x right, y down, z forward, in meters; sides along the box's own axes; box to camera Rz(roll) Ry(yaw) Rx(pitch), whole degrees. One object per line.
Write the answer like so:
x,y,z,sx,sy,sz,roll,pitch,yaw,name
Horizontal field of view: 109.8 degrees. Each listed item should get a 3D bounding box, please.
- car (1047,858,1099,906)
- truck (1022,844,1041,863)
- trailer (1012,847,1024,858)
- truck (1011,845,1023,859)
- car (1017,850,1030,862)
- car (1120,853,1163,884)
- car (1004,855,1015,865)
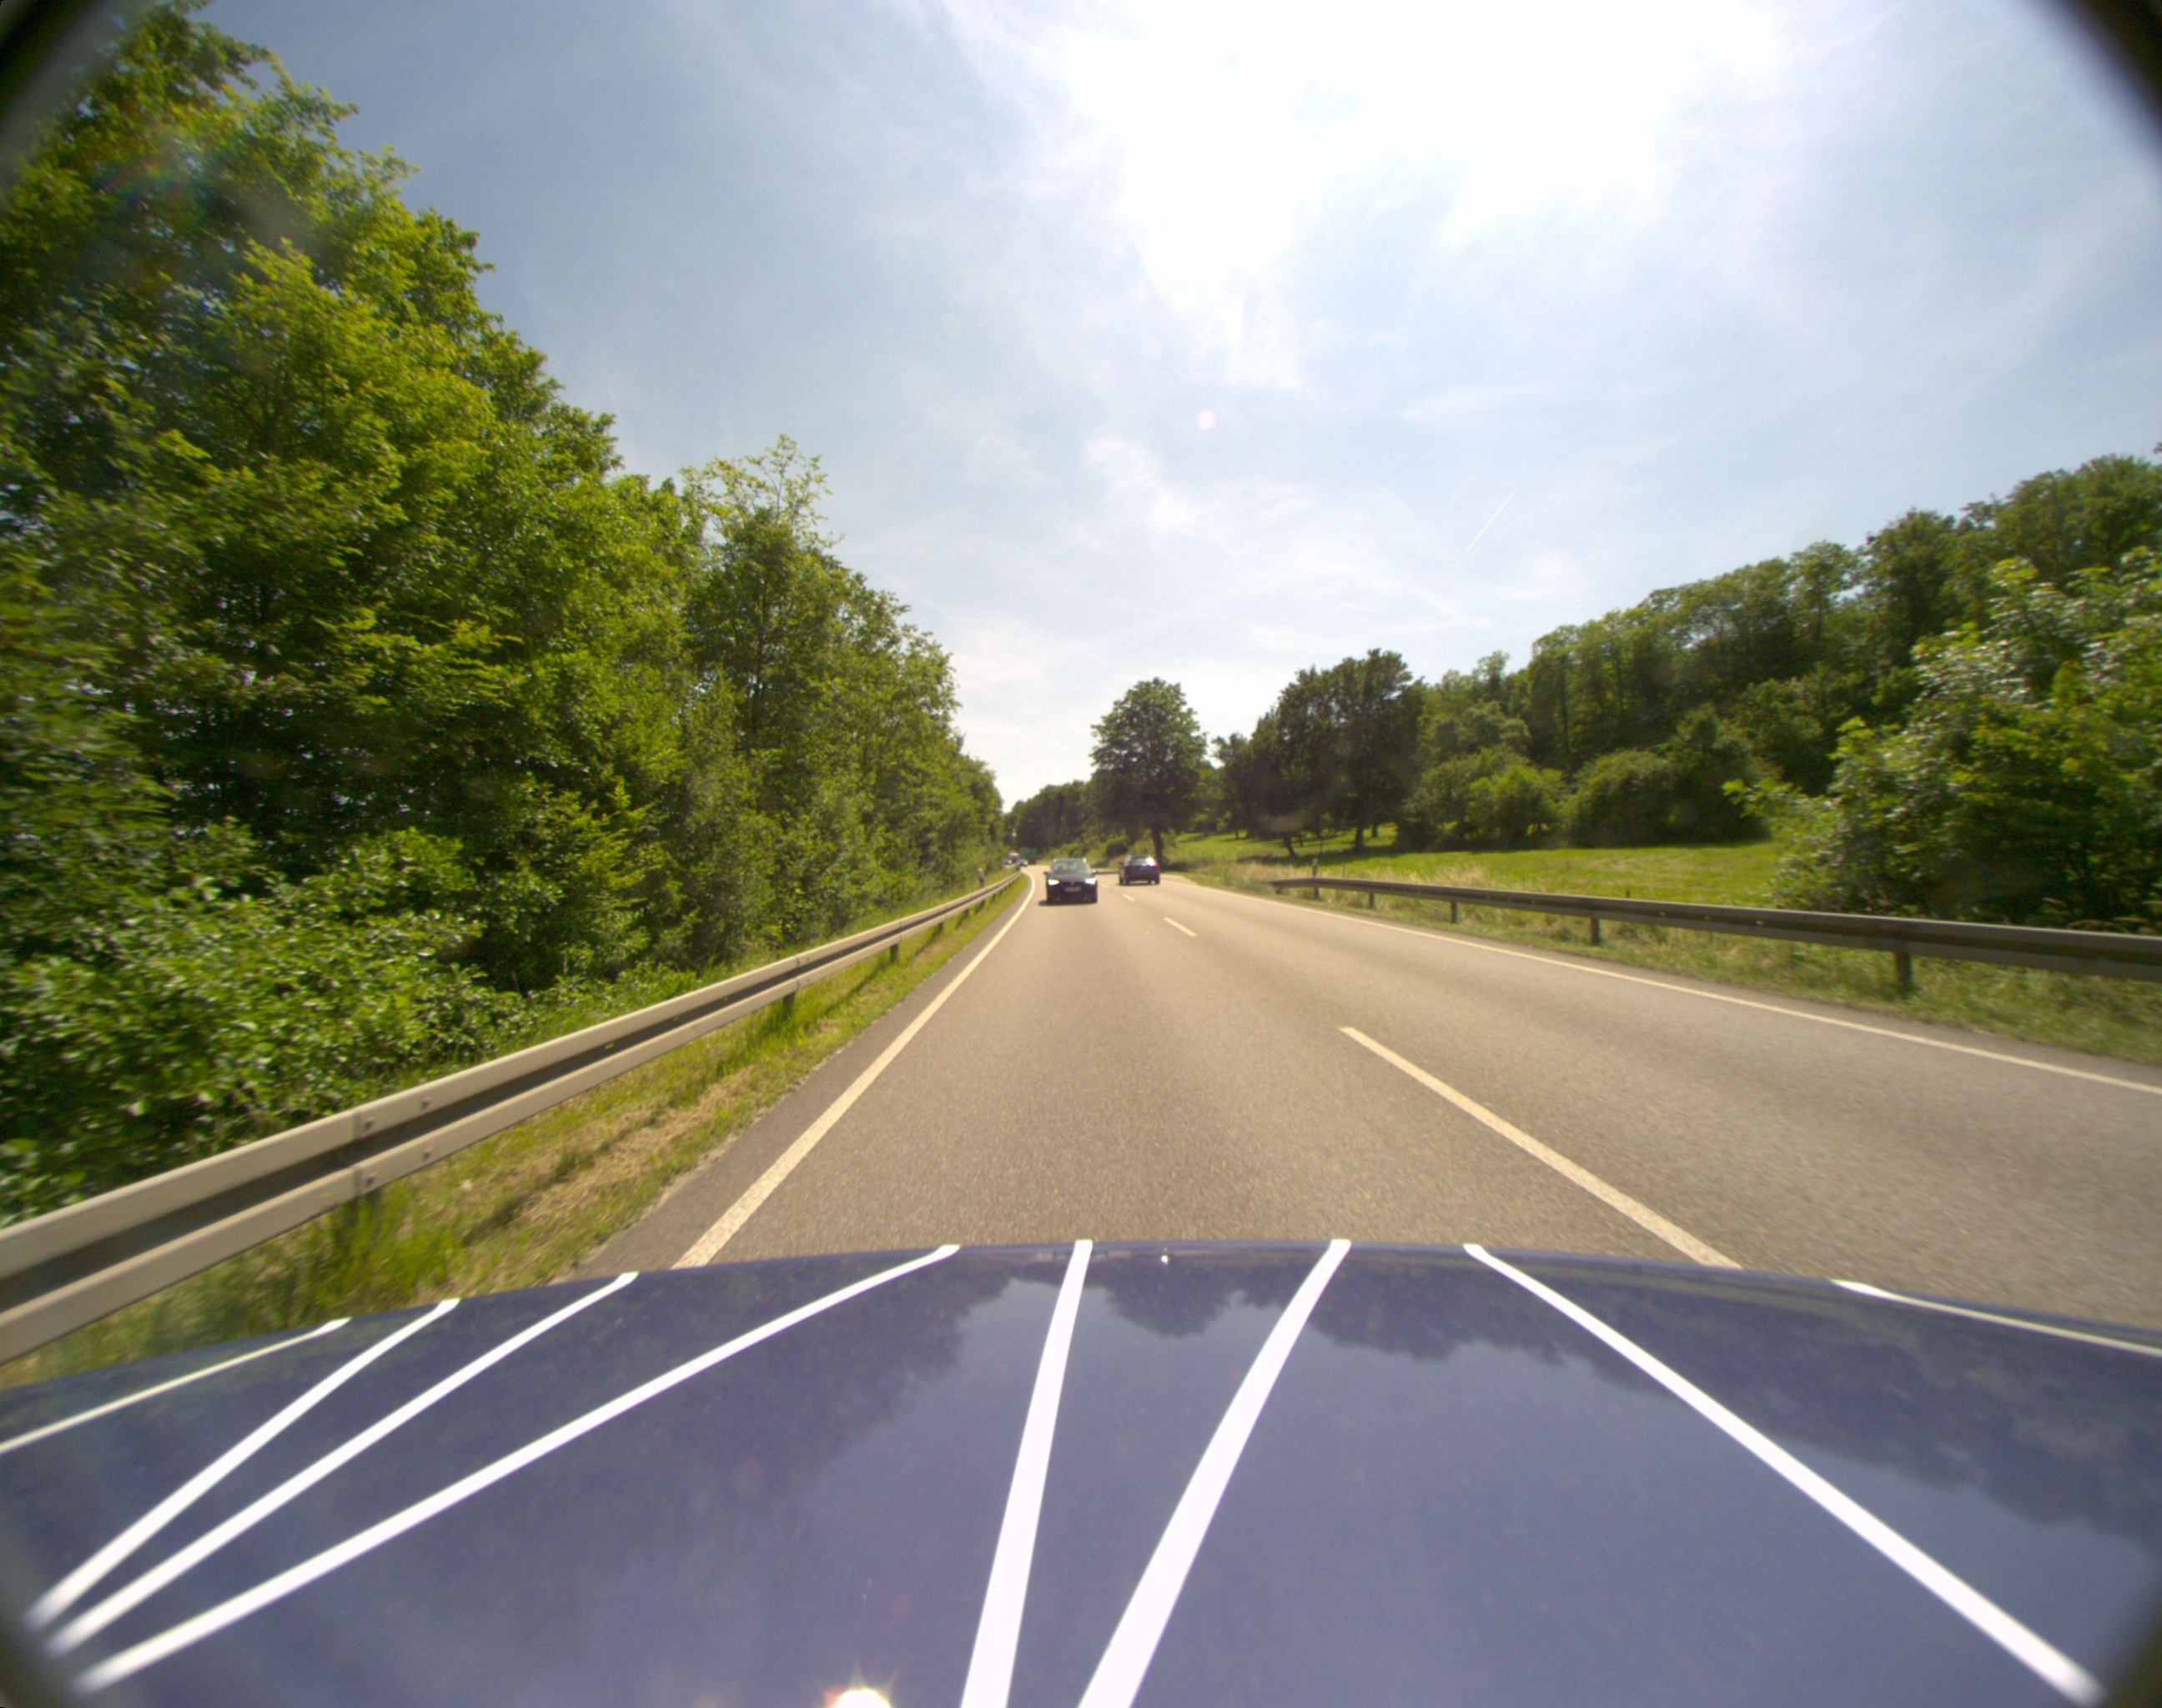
-0.327,0.936,26.822,1.662,1.531,3.486,-2,0,-2,car
-11.100,-0.015,169.147,2.568,3.916,16.148,-3,0,-8,truck
-16.420,-0.360,199.040,2.652,2.856,7.071,-2,1,-8,trailer
-17.376,-0.552,206.080,2.539,3.539,7.755,-2,1,-8,truck
-10.177,0.284,134.271,2.000,2.002,3.997,-3,1,-7,car
3.190,0.760,40.813,1.869,1.518,3.890,-2,0,-2,car
-15.955,1.267,169.550,2.000,2.002,3.996,-3,1,-9,car
